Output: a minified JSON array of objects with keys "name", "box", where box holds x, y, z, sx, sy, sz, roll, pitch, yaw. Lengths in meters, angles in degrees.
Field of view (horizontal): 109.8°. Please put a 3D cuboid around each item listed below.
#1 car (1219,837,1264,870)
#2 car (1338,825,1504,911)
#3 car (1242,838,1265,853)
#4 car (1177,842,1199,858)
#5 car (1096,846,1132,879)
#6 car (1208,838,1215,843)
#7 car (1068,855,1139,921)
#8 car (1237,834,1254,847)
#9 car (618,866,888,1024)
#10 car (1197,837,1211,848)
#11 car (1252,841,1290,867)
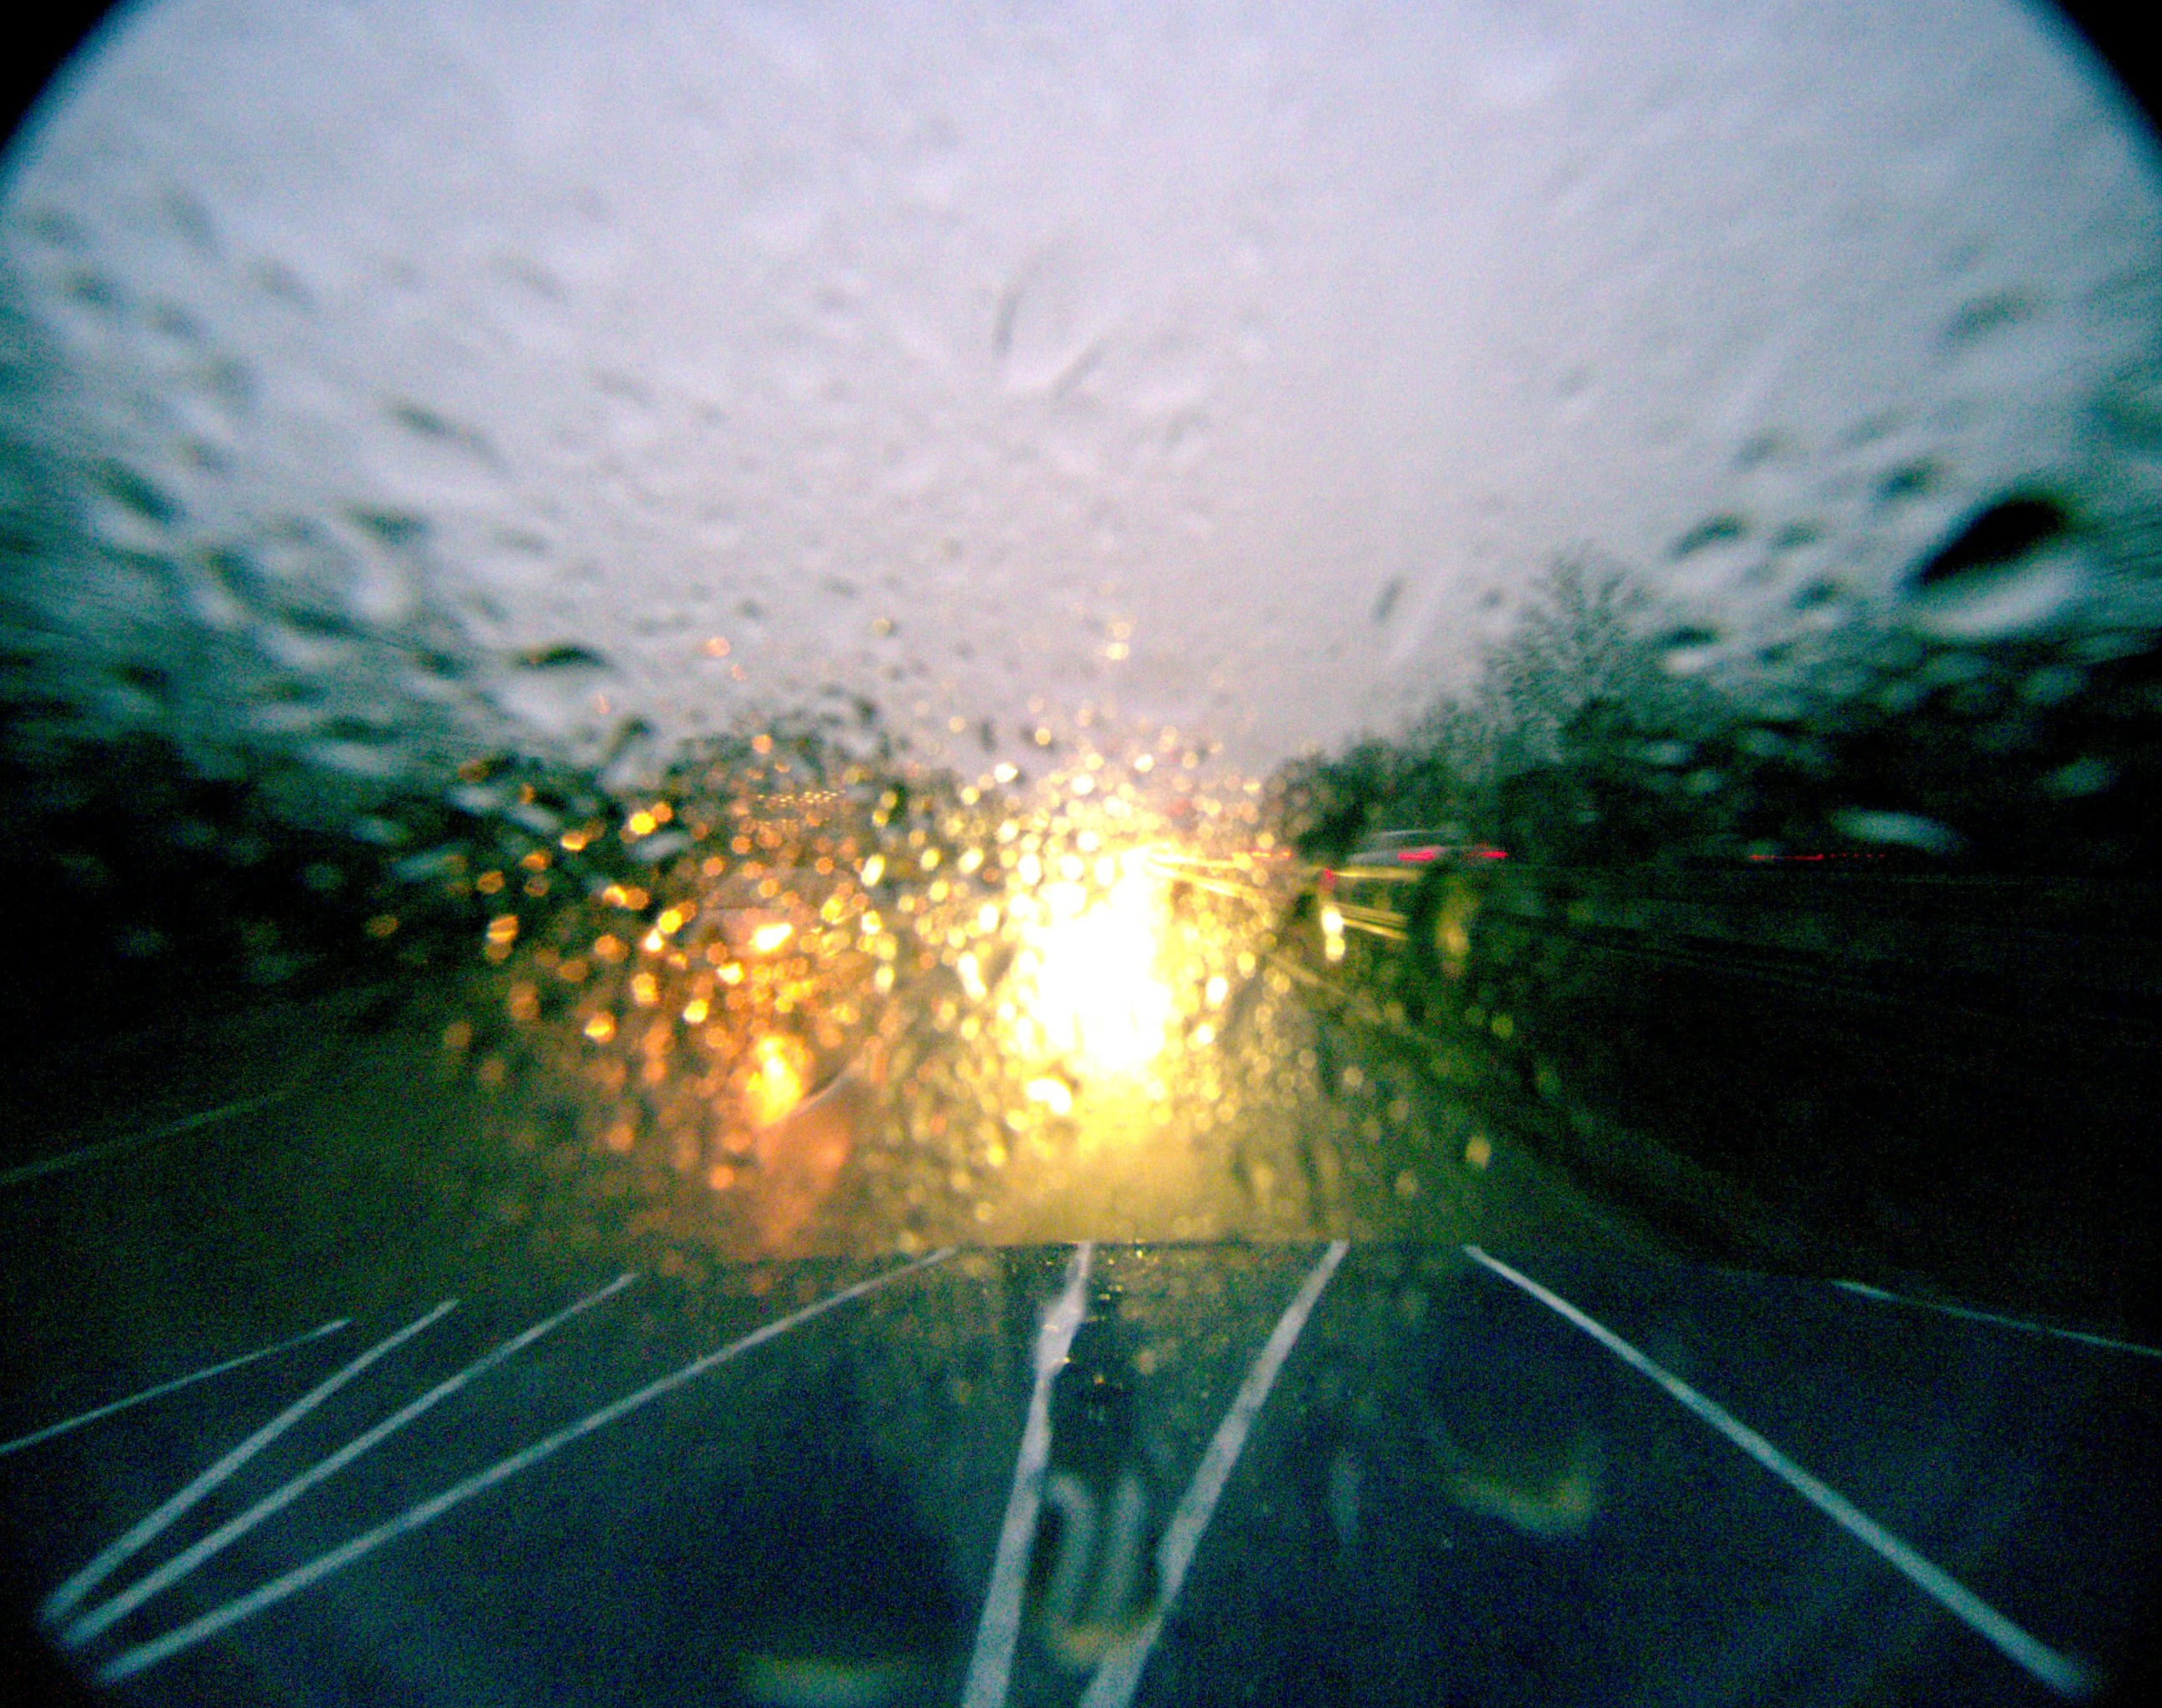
[{"name":"car","box":[9.130,-0.067,43.555,1.771,1.674,3.999,-3,1,1]},{"name":"car","box":[8.359,0.258,19.320,1.992,1.820,5.118,-3,1,2]},{"name":"car","box":[20.234,-1.005,89.245,1.867,1.530,4.113,-3,1,4]},{"name":"car","box":[10.742,-0.421,76.501,1.758,1.433,4.000,-3,1,3]},{"name":"car","box":[1.745,0.420,40.546,1.758,1.521,3.999,-3,1,2]},{"name":"car","box":[40.115,-4.120,233.841,1.707,1.557,4.851,-3,1,7]},{"name":"car","box":[0.528,0.801,19.933,1.595,1.445,4.175,-3,1,0]},{"name":"car","box":[24.903,-2.055,115.247,1.884,1.822,4.787,-3,1,4]},{"name":"car","box":[-4.147,1.039,10.497,1.854,1.493,4.261,-3,1,-1]},{"name":"car","box":[21.117,-1.966,130.406,1.887,1.822,4.787,-3,1,4]},{"name":"car","box":[13.238,-0.013,53.122,1.696,1.657,4.432,-3,1,3]}]
